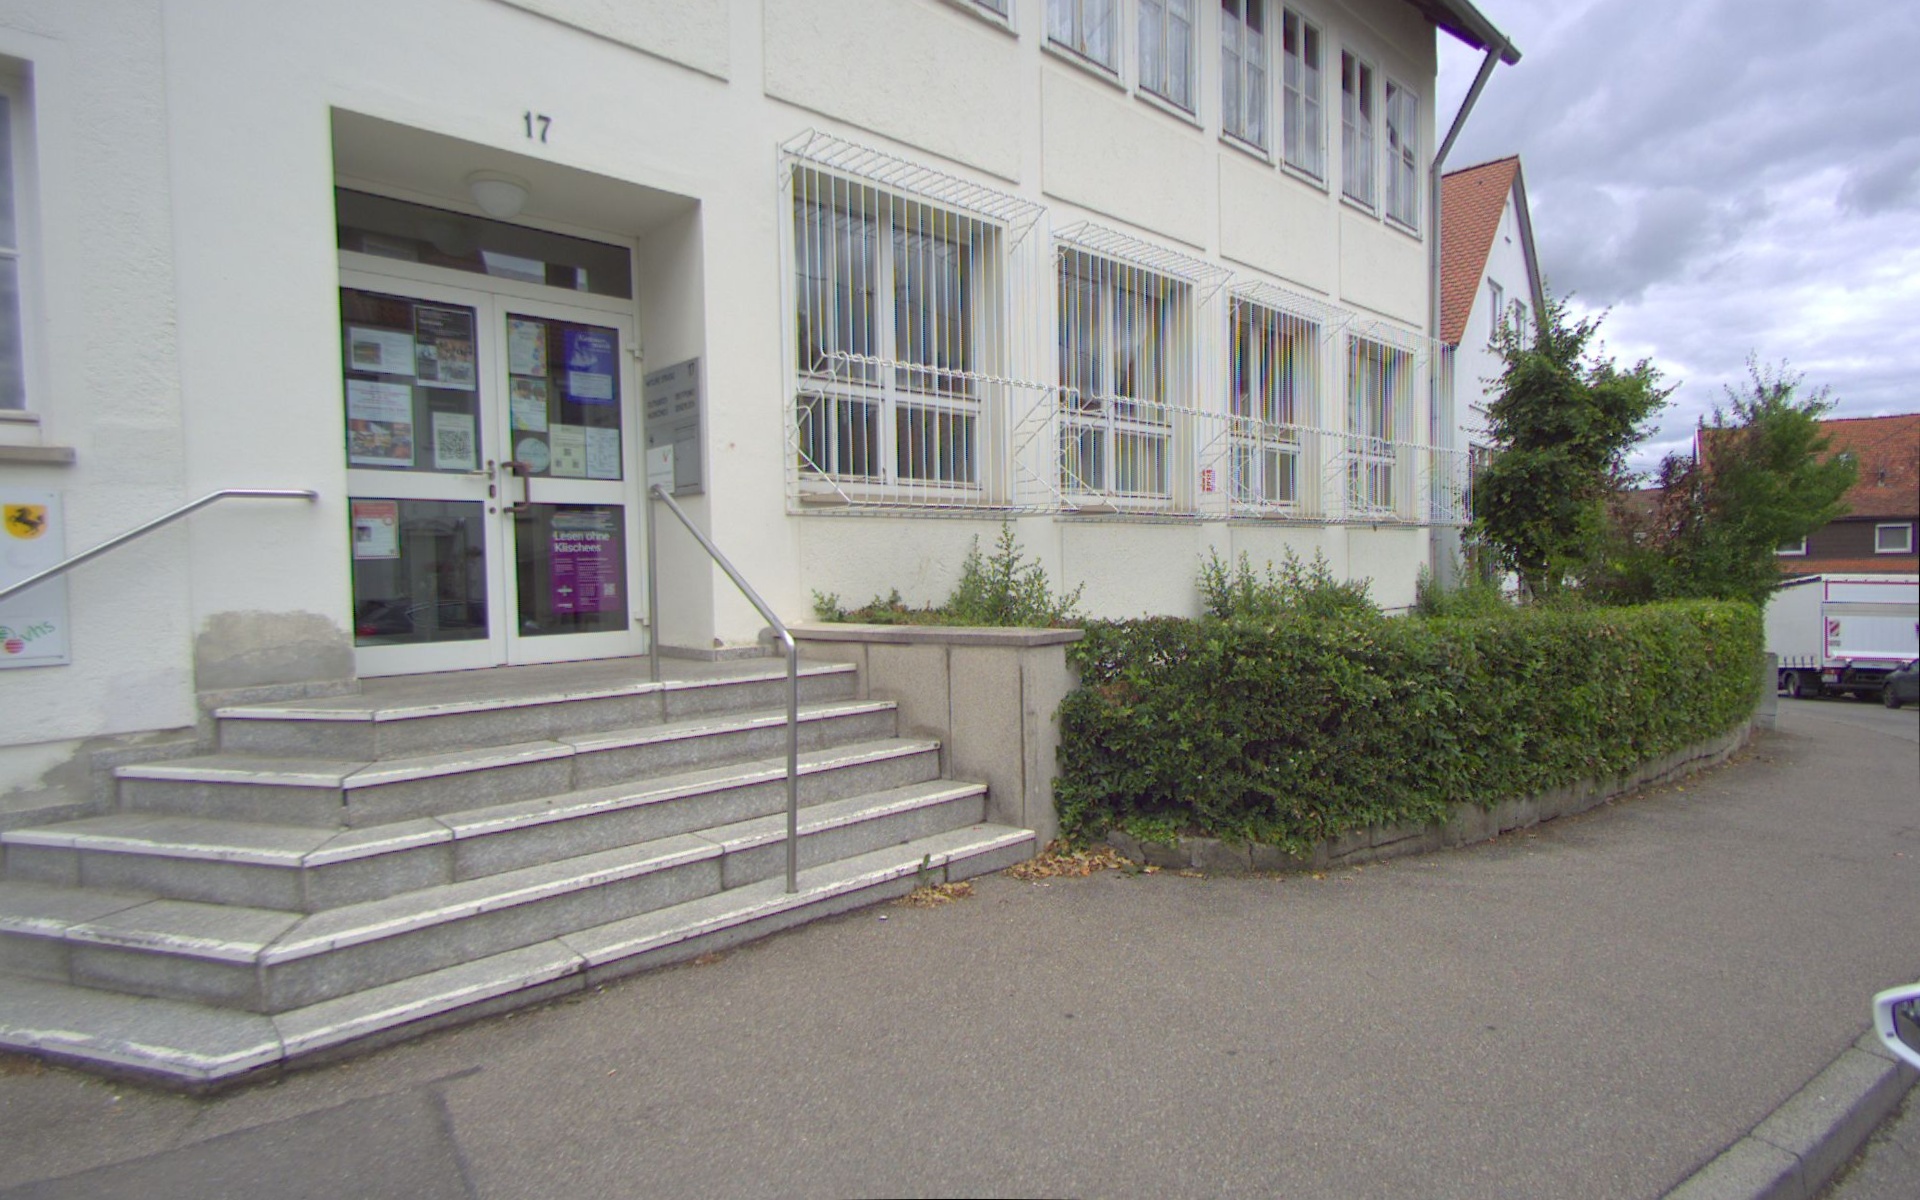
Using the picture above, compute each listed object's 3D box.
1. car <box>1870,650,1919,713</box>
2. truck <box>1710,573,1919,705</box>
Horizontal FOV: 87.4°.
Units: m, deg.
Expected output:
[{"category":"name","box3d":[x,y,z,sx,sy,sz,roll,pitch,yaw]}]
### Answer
[{"category":"car","box3d":[24.450,2.039,24.716,1.704,1.526,4.051,2,-2,21]},{"category":"truck","box3d":[26.893,1.232,31.933,2.632,3.644,8.107,1,-2,20]}]
